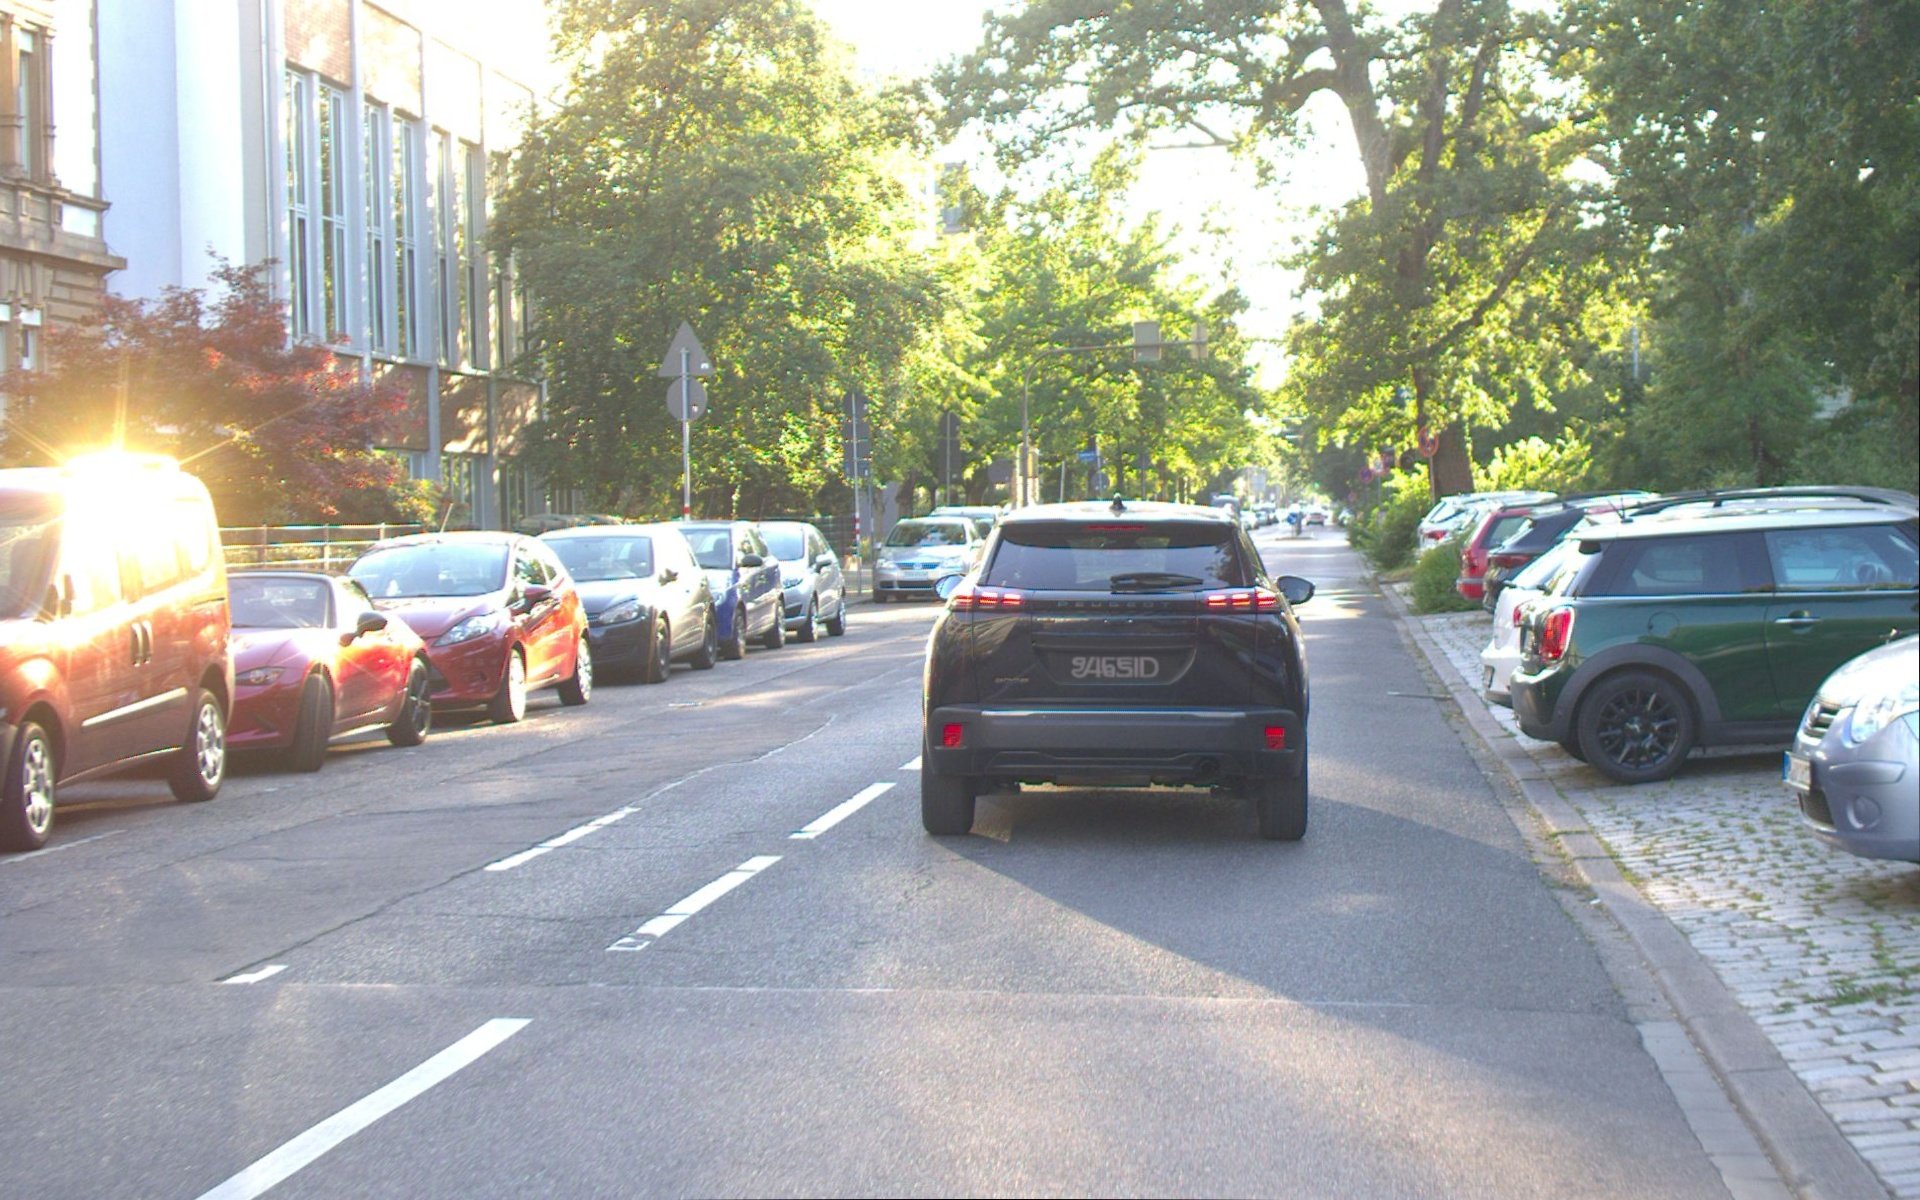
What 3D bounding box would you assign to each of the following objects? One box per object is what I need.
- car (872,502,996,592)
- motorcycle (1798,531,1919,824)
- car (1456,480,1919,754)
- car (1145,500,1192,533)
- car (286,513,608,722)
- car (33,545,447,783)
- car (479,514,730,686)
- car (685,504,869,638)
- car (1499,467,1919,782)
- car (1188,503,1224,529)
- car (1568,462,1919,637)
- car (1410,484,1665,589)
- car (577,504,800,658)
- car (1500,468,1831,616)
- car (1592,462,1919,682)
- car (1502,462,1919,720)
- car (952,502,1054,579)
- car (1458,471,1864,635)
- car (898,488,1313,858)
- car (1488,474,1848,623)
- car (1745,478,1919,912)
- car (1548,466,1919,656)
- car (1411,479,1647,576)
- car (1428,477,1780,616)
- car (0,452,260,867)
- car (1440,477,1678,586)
[{"bbox_3d":[-0.416,-0.956,60.113,1.671,1.488,4.060,-1,2,7],"label":"car"},{"bbox_3d":[4.979,0.315,15.849,2.093,1.299,0.778,-3,1,12],"label":"motorcycle"},{"bbox_3d":[5.072,0.054,21.622,3.666,1.440,1.735,-4,2,5],"label":"car"},{"bbox_3d":[9.002,-3.628,148.568,1.810,1.349,4.000,-2,2,1],"label":"car"},{"bbox_3d":[-3.956,0.085,27.079,1.599,1.450,3.861,-2,2,5],"label":"car"},{"bbox_3d":[-4.566,0.356,22.328,1.556,1.275,3.733,-2,2,5],"label":"car"},{"bbox_3d":[-3.363,-0.048,33.213,1.599,1.450,4.055,-2,2,5],"label":"car"},{"bbox_3d":[-2.228,-0.390,42.753,1.601,1.488,3.771,-2,2,7],"label":"car"},{"bbox_3d":[4.953,0.062,19.226,3.610,1.520,1.671,-4,2,5],"label":"car"},{"bbox_3d":[13.472,-4.604,188.387,1.810,1.349,3.979,-2,2,2],"label":"car"},{"bbox_3d":[8.146,-0.527,34.537,3.808,1.469,1.831,-4,1,7],"label":"car"},{"bbox_3d":[9.726,-1.084,58.136,4.123,1.661,1.722,-1,2,7],"label":"car"},{"bbox_3d":[-2.943,-0.251,37.959,1.599,1.502,3.786,-2,2,8],"label":"car"},{"bbox_3d":[8.717,-0.727,42.694,3.712,1.550,1.742,-4,1,3],"label":"car"},{"bbox_3d":[6.924,-0.274,26.779,3.726,1.493,1.820,-4,1,7],"label":"car"},{"bbox_3d":[5.790,-0.116,24.234,3.666,1.547,1.735,-4,2,5],"label":"car"},{"bbox_3d":[0.926,-1.269,72.087,1.679,1.452,3.881,-2,2,7],"label":"car"},{"bbox_3d":[7.538,-0.515,37.291,4.121,1.469,1.831,-4,1,8],"label":"car"},{"bbox_3d":[0.793,0.262,16.618,1.768,1.563,3.380,1,2,6],"label":"car"},{"bbox_3d":[8.213,-0.612,40.172,3.925,1.449,1.831,-4,1,8],"label":"car"},{"bbox_3d":[4.785,0.288,12.806,3.386,1.520,1.671,-1,1,4],"label":"car"},{"bbox_3d":[7.459,-0.386,31.775,3.808,1.469,1.756,-4,1,7],"label":"car"},{"bbox_3d":[10.404,-1.332,62.822,4.172,1.704,1.866,0,2,11],"label":"car"},{"bbox_3d":[8.359,-0.708,44.905,4.339,1.470,1.742,-4,2,7],"label":"car"},{"bbox_3d":[-5.126,0.232,17.571,1.808,1.883,4.238,-2,2,5],"label":"car"},{"bbox_3d":[9.660,-1.098,55.647,3.589,1.561,1.818,-3,0,6],"label":"car"}]
